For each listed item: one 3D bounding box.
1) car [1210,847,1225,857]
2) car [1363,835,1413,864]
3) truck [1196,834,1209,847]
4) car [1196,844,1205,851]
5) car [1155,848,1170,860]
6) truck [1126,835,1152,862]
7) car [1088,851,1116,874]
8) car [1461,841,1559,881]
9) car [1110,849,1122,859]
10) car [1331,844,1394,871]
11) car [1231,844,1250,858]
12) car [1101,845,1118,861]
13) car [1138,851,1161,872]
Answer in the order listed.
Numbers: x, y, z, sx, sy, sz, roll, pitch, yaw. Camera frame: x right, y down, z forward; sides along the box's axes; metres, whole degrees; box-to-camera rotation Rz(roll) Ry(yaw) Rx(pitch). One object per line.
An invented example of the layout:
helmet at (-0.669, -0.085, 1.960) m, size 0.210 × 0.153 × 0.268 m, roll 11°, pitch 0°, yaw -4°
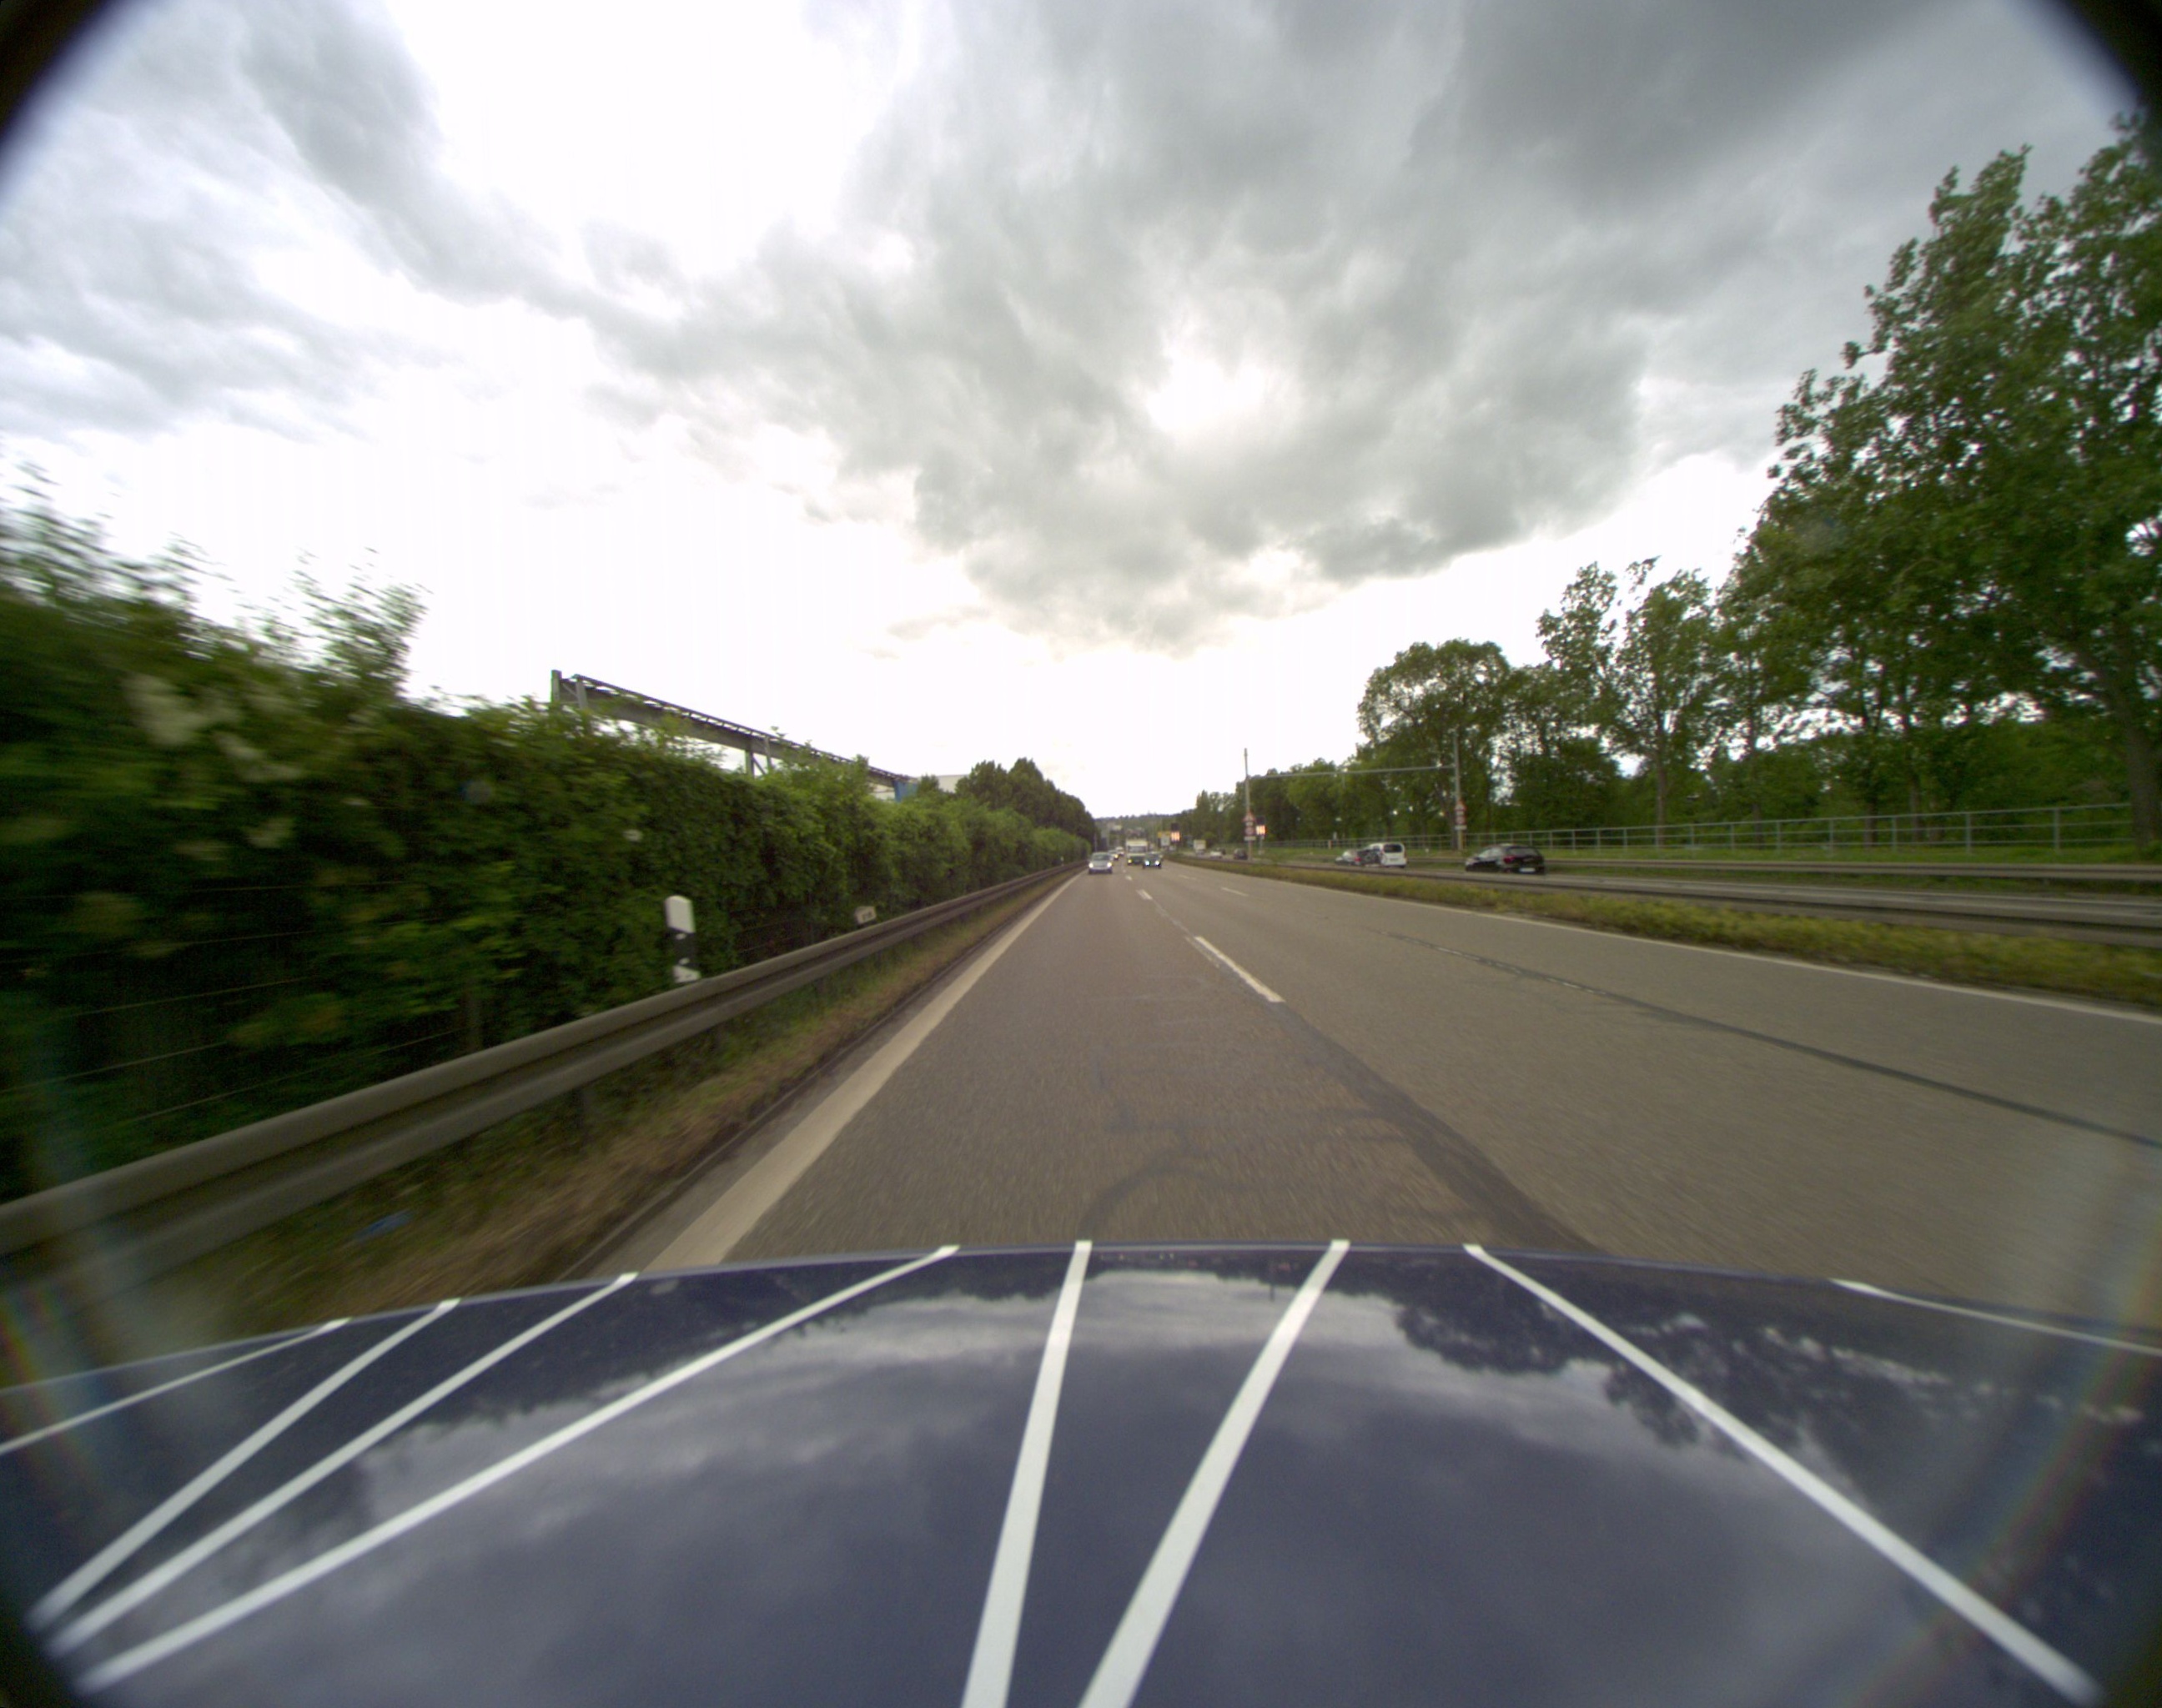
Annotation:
car at (23.598, -0.376, 131.677) m, size 1.871 × 1.665 × 4.719 m, roll -1°, pitch 0°, yaw 2°
car at (20.784, -0.304, 51.661) m, size 1.614 × 1.873 × 4.562 m, roll -2°, pitch 0°, yaw 1°
truck at (34.978, -3.931, 218.998) m, size 2.895 × 3.558 × 9.590 m, roll -2°, pitch 0°, yaw 6°
car at (28.219, -1.511, 179.818) m, size 1.701 × 1.595 × 4.539 m, roll 0°, pitch 0°, yaw 4°
car at (12.358, 0.058, 115.802) m, size 1.883 × 1.714 × 4.147 m, roll -3°, pitch 0°, yaw 3°
truck at (7.212, -0.631, 95.933) m, size 2.656 × 3.120 × 12.511 m, roll -3°, pitch 0°, yaw 3°
car at (1.611, 0.628, 56.659) m, size 1.883 × 1.530 × 4.147 m, roll -3°, pitch 0°, yaw 3°
car at (16.702, 0.241, 29.816) m, size 1.664 × 1.415 × 3.911 m, roll -2°, pitch 0°, yaw 1°
car at (6.208, 0.053, 134.033) m, size 1.883 × 1.714 × 4.147 m, roll -3°, pitch 0°, yaw 3°
car at (17.133, 0.186, 46.571) m, size 1.866 × 1.456 × 5.551 m, roll -2°, pitch 0°, yaw 1°
car at (20.188, -0.370, 96.365) m, size 1.730 × 1.764 × 3.742 m, roll -2°, pitch 0°, yaw 3°
car at (3.401, -0.101, 91.272) m, size 1.883 × 1.714 × 4.147 m, roll -3°, pitch 0°, yaw 3°
car at (6.327, 0.684, 70.213) m, size 1.883 × 1.714 × 4.147 m, roll -3°, pitch 0°, yaw 3°
